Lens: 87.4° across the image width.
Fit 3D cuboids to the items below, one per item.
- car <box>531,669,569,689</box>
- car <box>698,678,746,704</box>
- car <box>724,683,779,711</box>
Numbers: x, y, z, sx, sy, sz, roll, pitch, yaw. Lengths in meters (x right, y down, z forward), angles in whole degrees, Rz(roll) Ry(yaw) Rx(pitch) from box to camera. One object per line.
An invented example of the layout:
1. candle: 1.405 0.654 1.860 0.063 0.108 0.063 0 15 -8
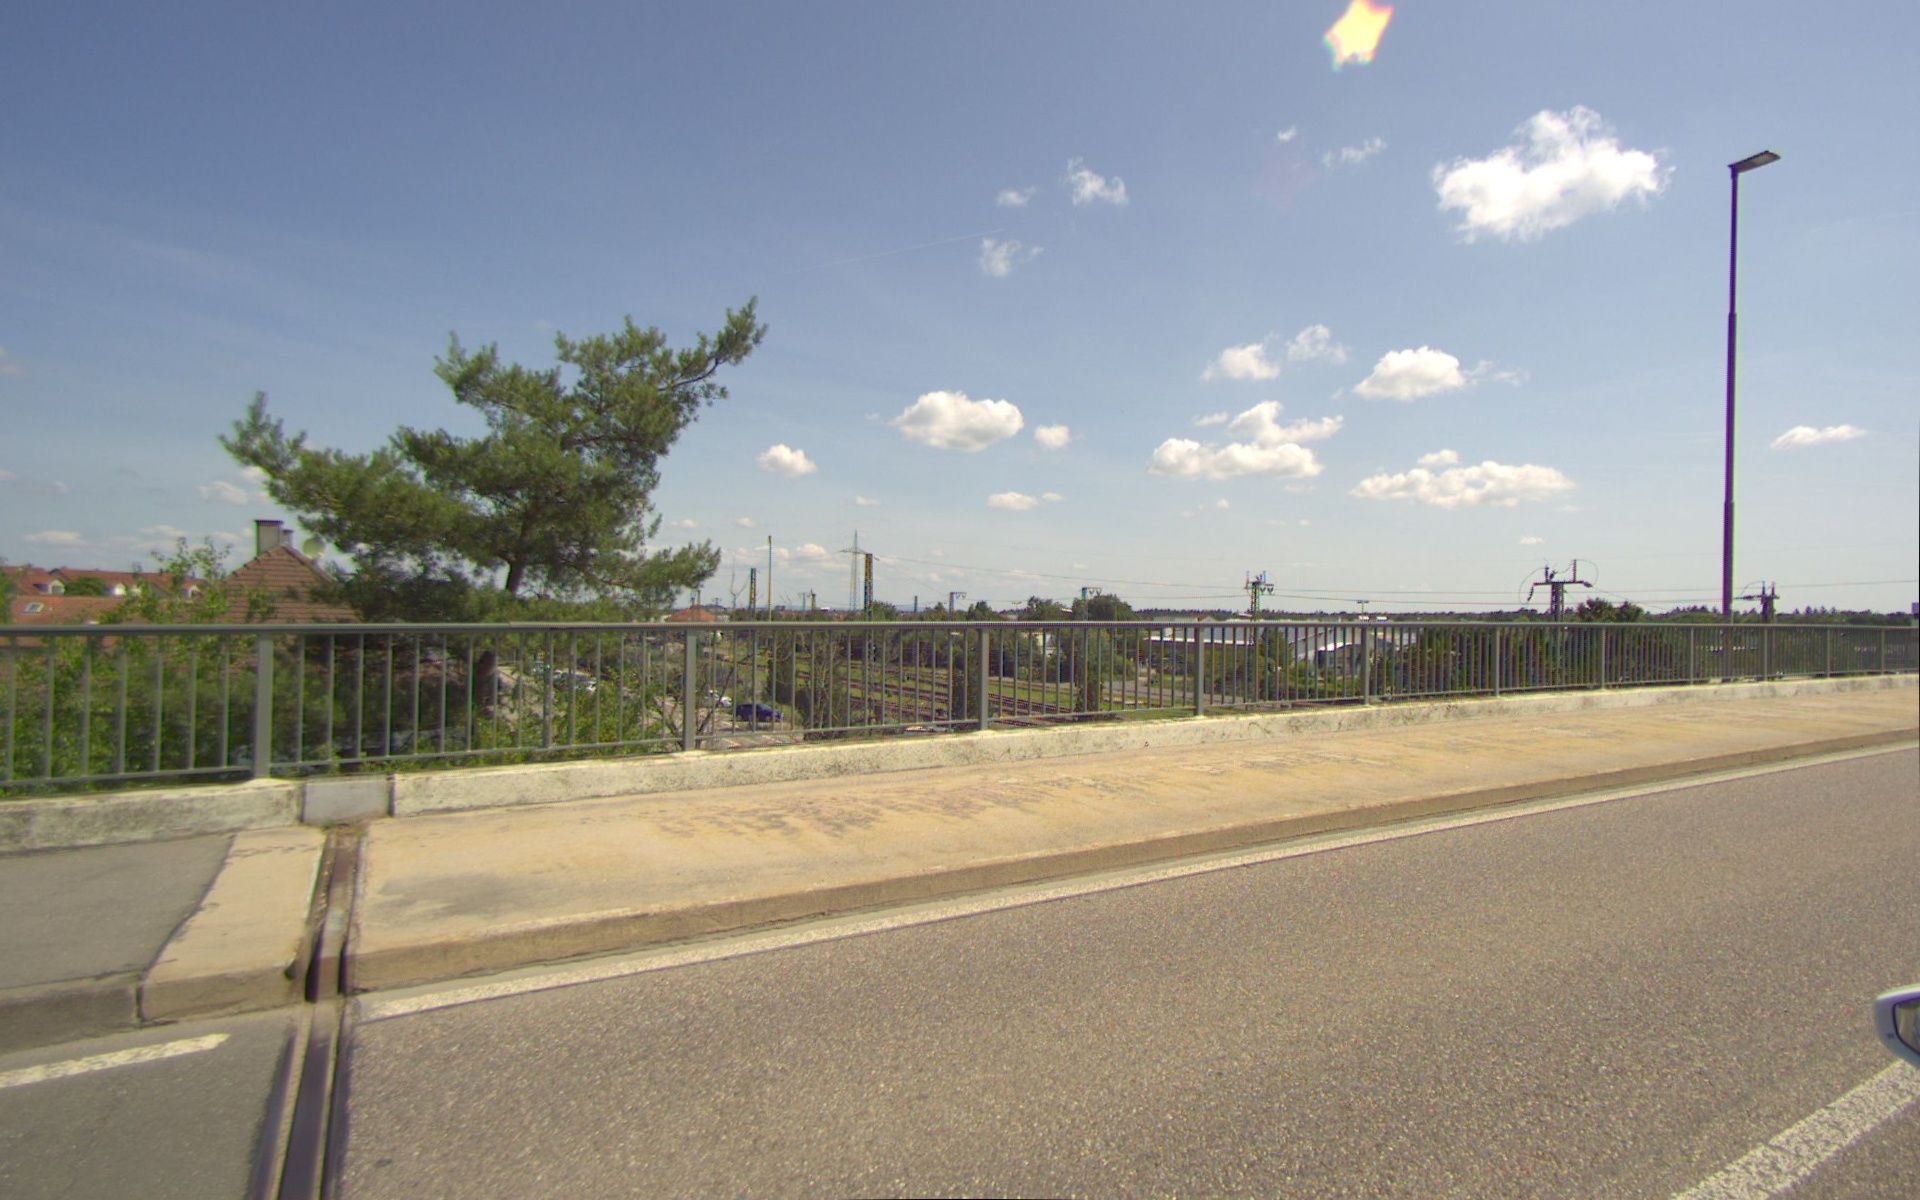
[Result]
1. car: -49.126 9.496 120.520 1.962 2.040 3.998 1 0 23
2. car: -22.447 8.573 94.775 3.919 2.041 2.000 3 3 7
3. car: -19.121 8.869 92.059 4.775 2.041 1.992 1 5 -18
